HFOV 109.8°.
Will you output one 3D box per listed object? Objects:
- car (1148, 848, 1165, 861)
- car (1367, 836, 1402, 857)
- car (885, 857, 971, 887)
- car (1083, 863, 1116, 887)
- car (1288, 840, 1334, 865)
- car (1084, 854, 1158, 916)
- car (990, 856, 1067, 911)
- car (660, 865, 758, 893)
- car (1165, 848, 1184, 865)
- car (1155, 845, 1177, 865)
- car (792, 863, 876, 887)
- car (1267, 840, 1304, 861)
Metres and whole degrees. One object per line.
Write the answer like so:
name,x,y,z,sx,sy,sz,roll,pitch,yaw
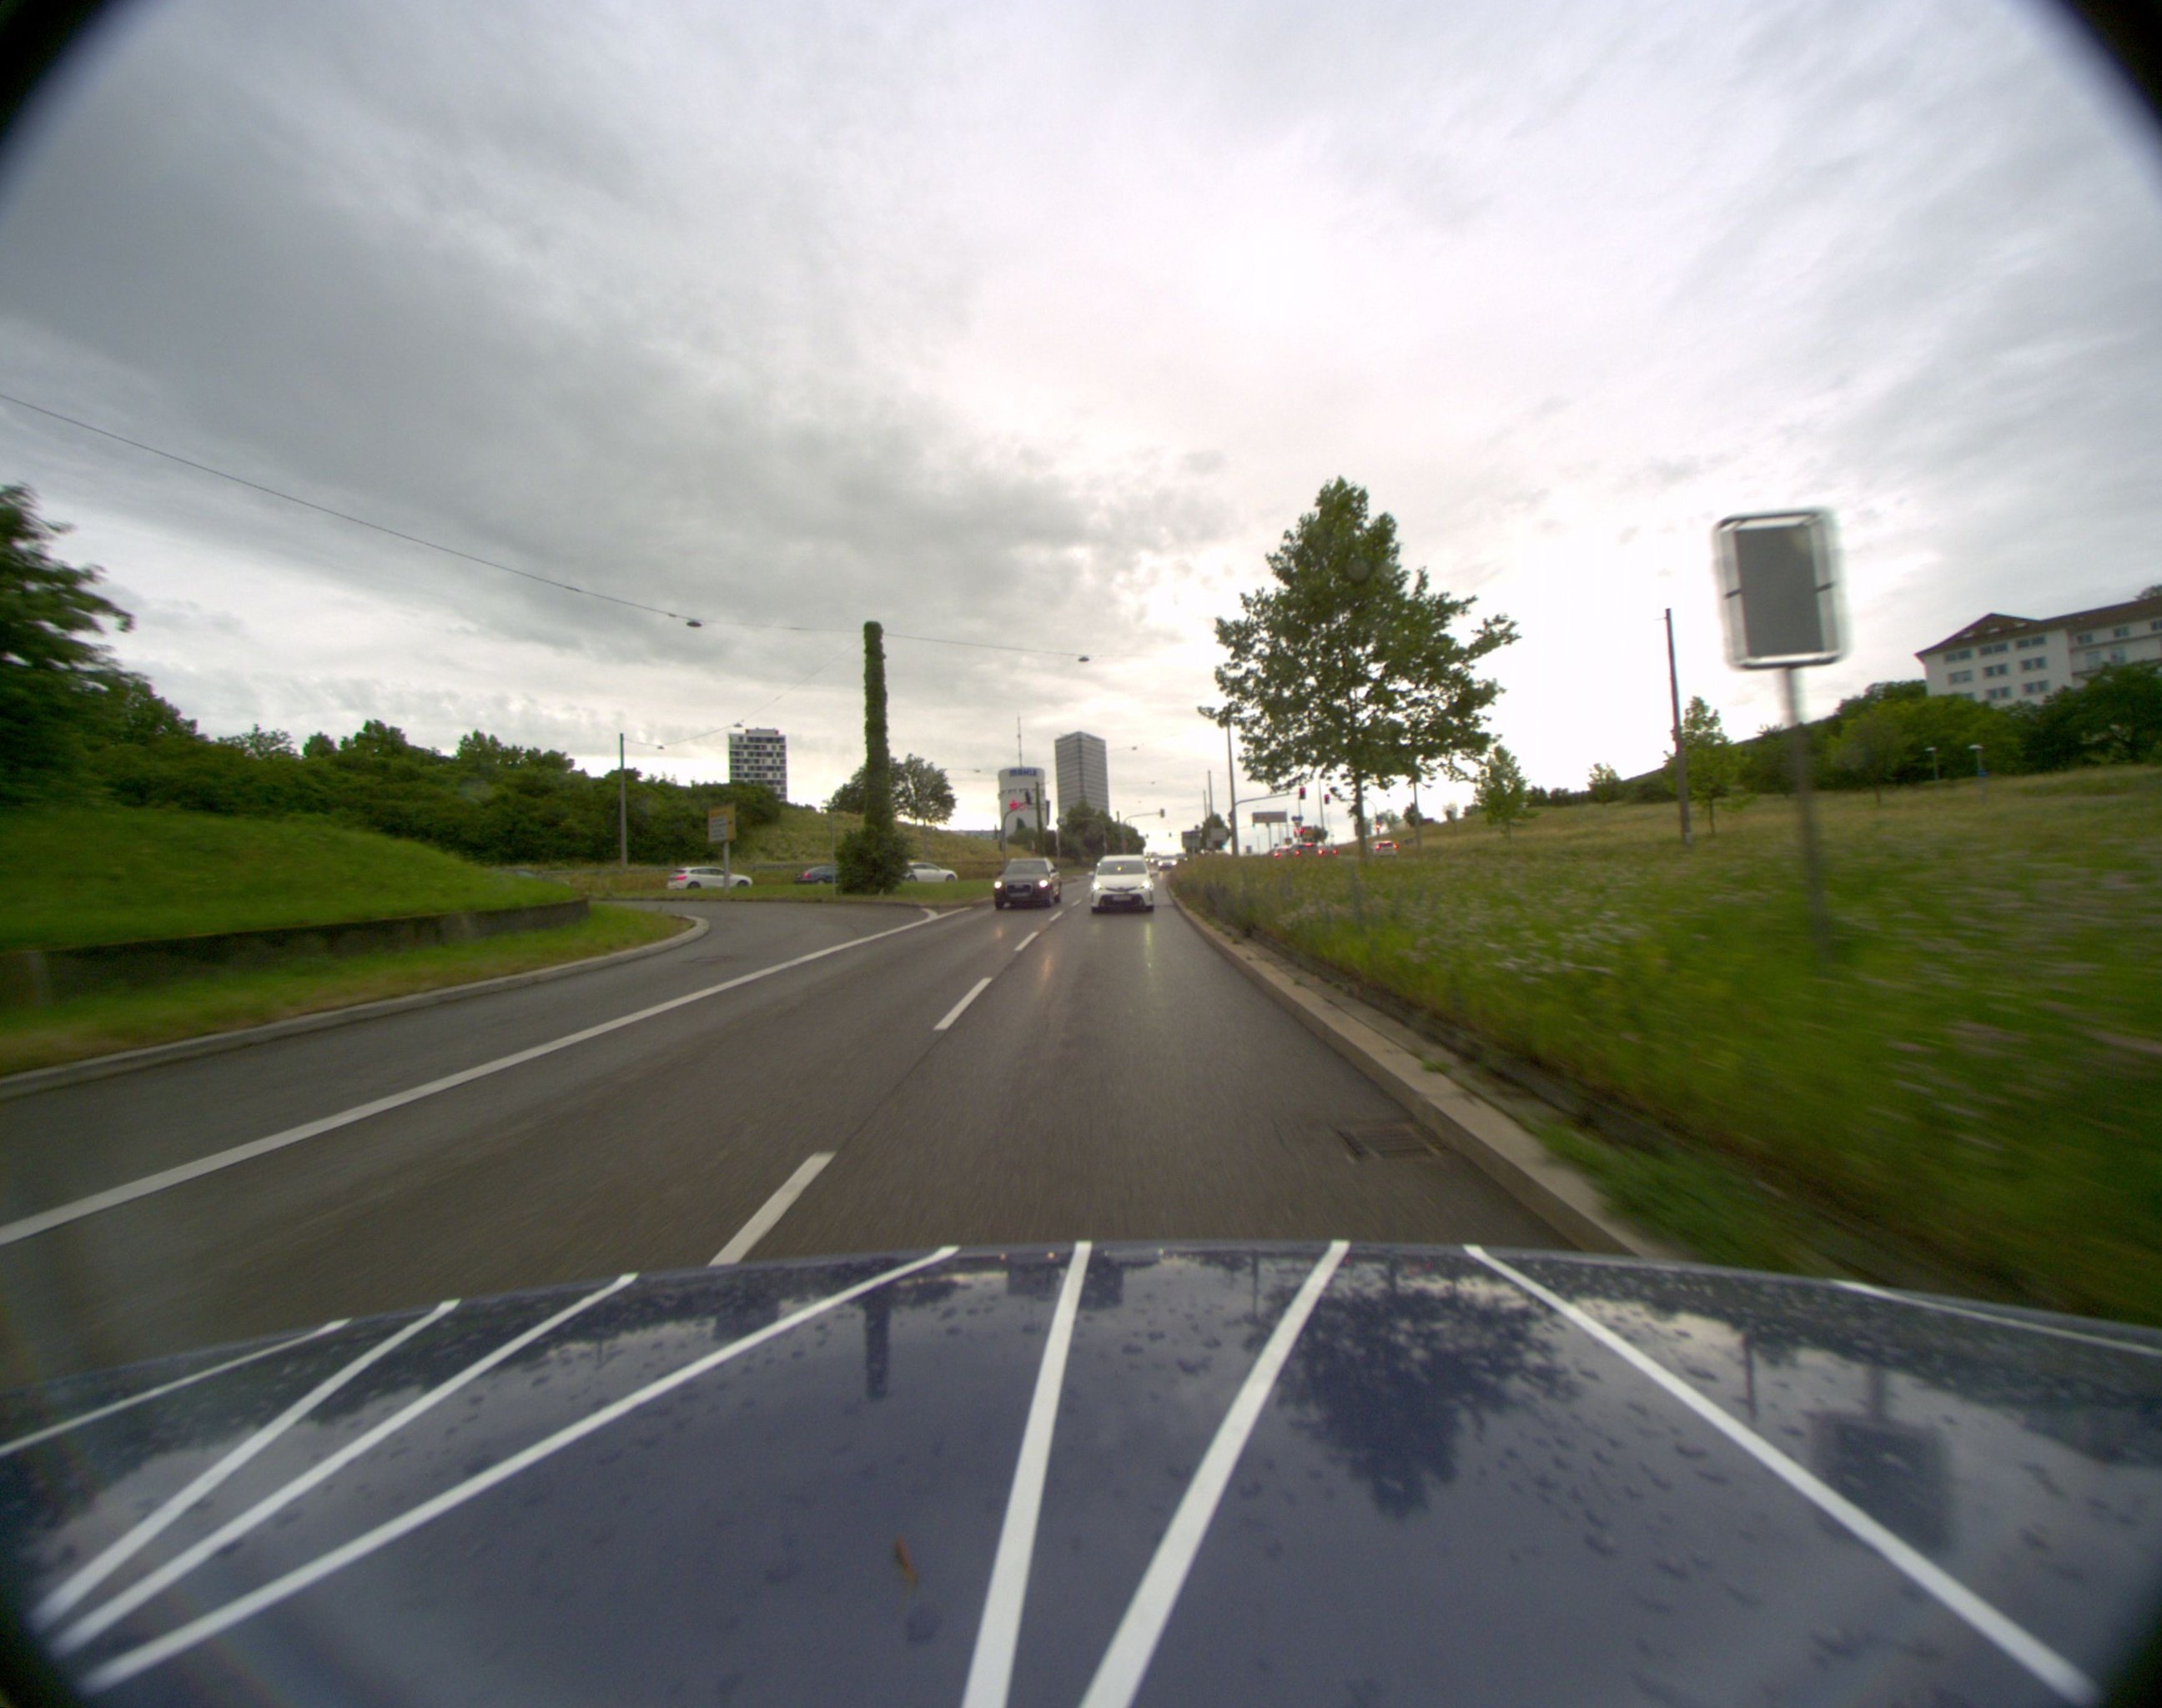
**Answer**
car,10.113,0.061,101.680,1.781,1.591,4.123,-3,0,10
car,26.008,-0.669,65.250,1.997,1.634,4.803,-4,0,13
car,-9.666,1.134,48.254,4.999,1.636,2.070,-3,0,-45
car,1.435,1.571,57.198,1.781,1.591,3.902,-3,0,10
car,15.360,-0.092,51.054,1.998,1.503,4.439,-4,0,5
car,1.169,0.821,22.499,1.924,1.604,4.376,-1,0,3
car,-1.657,0.918,25.579,1.927,1.591,4.280,-2,0,5
car,-20.258,1.334,41.532,2.070,1.419,4.281,-3,-2,37
car,10.441,0.246,84.474,1.997,1.761,4.002,-1,0,8
car,7.927,0.153,70.782,1.997,1.761,4.003,0,-1,6
car,-15.269,1.294,47.090,4.563,1.342,1.838,0,-2,-44
car,15.587,-0.234,58.143,1.965,1.414,4.439,-4,0,5
